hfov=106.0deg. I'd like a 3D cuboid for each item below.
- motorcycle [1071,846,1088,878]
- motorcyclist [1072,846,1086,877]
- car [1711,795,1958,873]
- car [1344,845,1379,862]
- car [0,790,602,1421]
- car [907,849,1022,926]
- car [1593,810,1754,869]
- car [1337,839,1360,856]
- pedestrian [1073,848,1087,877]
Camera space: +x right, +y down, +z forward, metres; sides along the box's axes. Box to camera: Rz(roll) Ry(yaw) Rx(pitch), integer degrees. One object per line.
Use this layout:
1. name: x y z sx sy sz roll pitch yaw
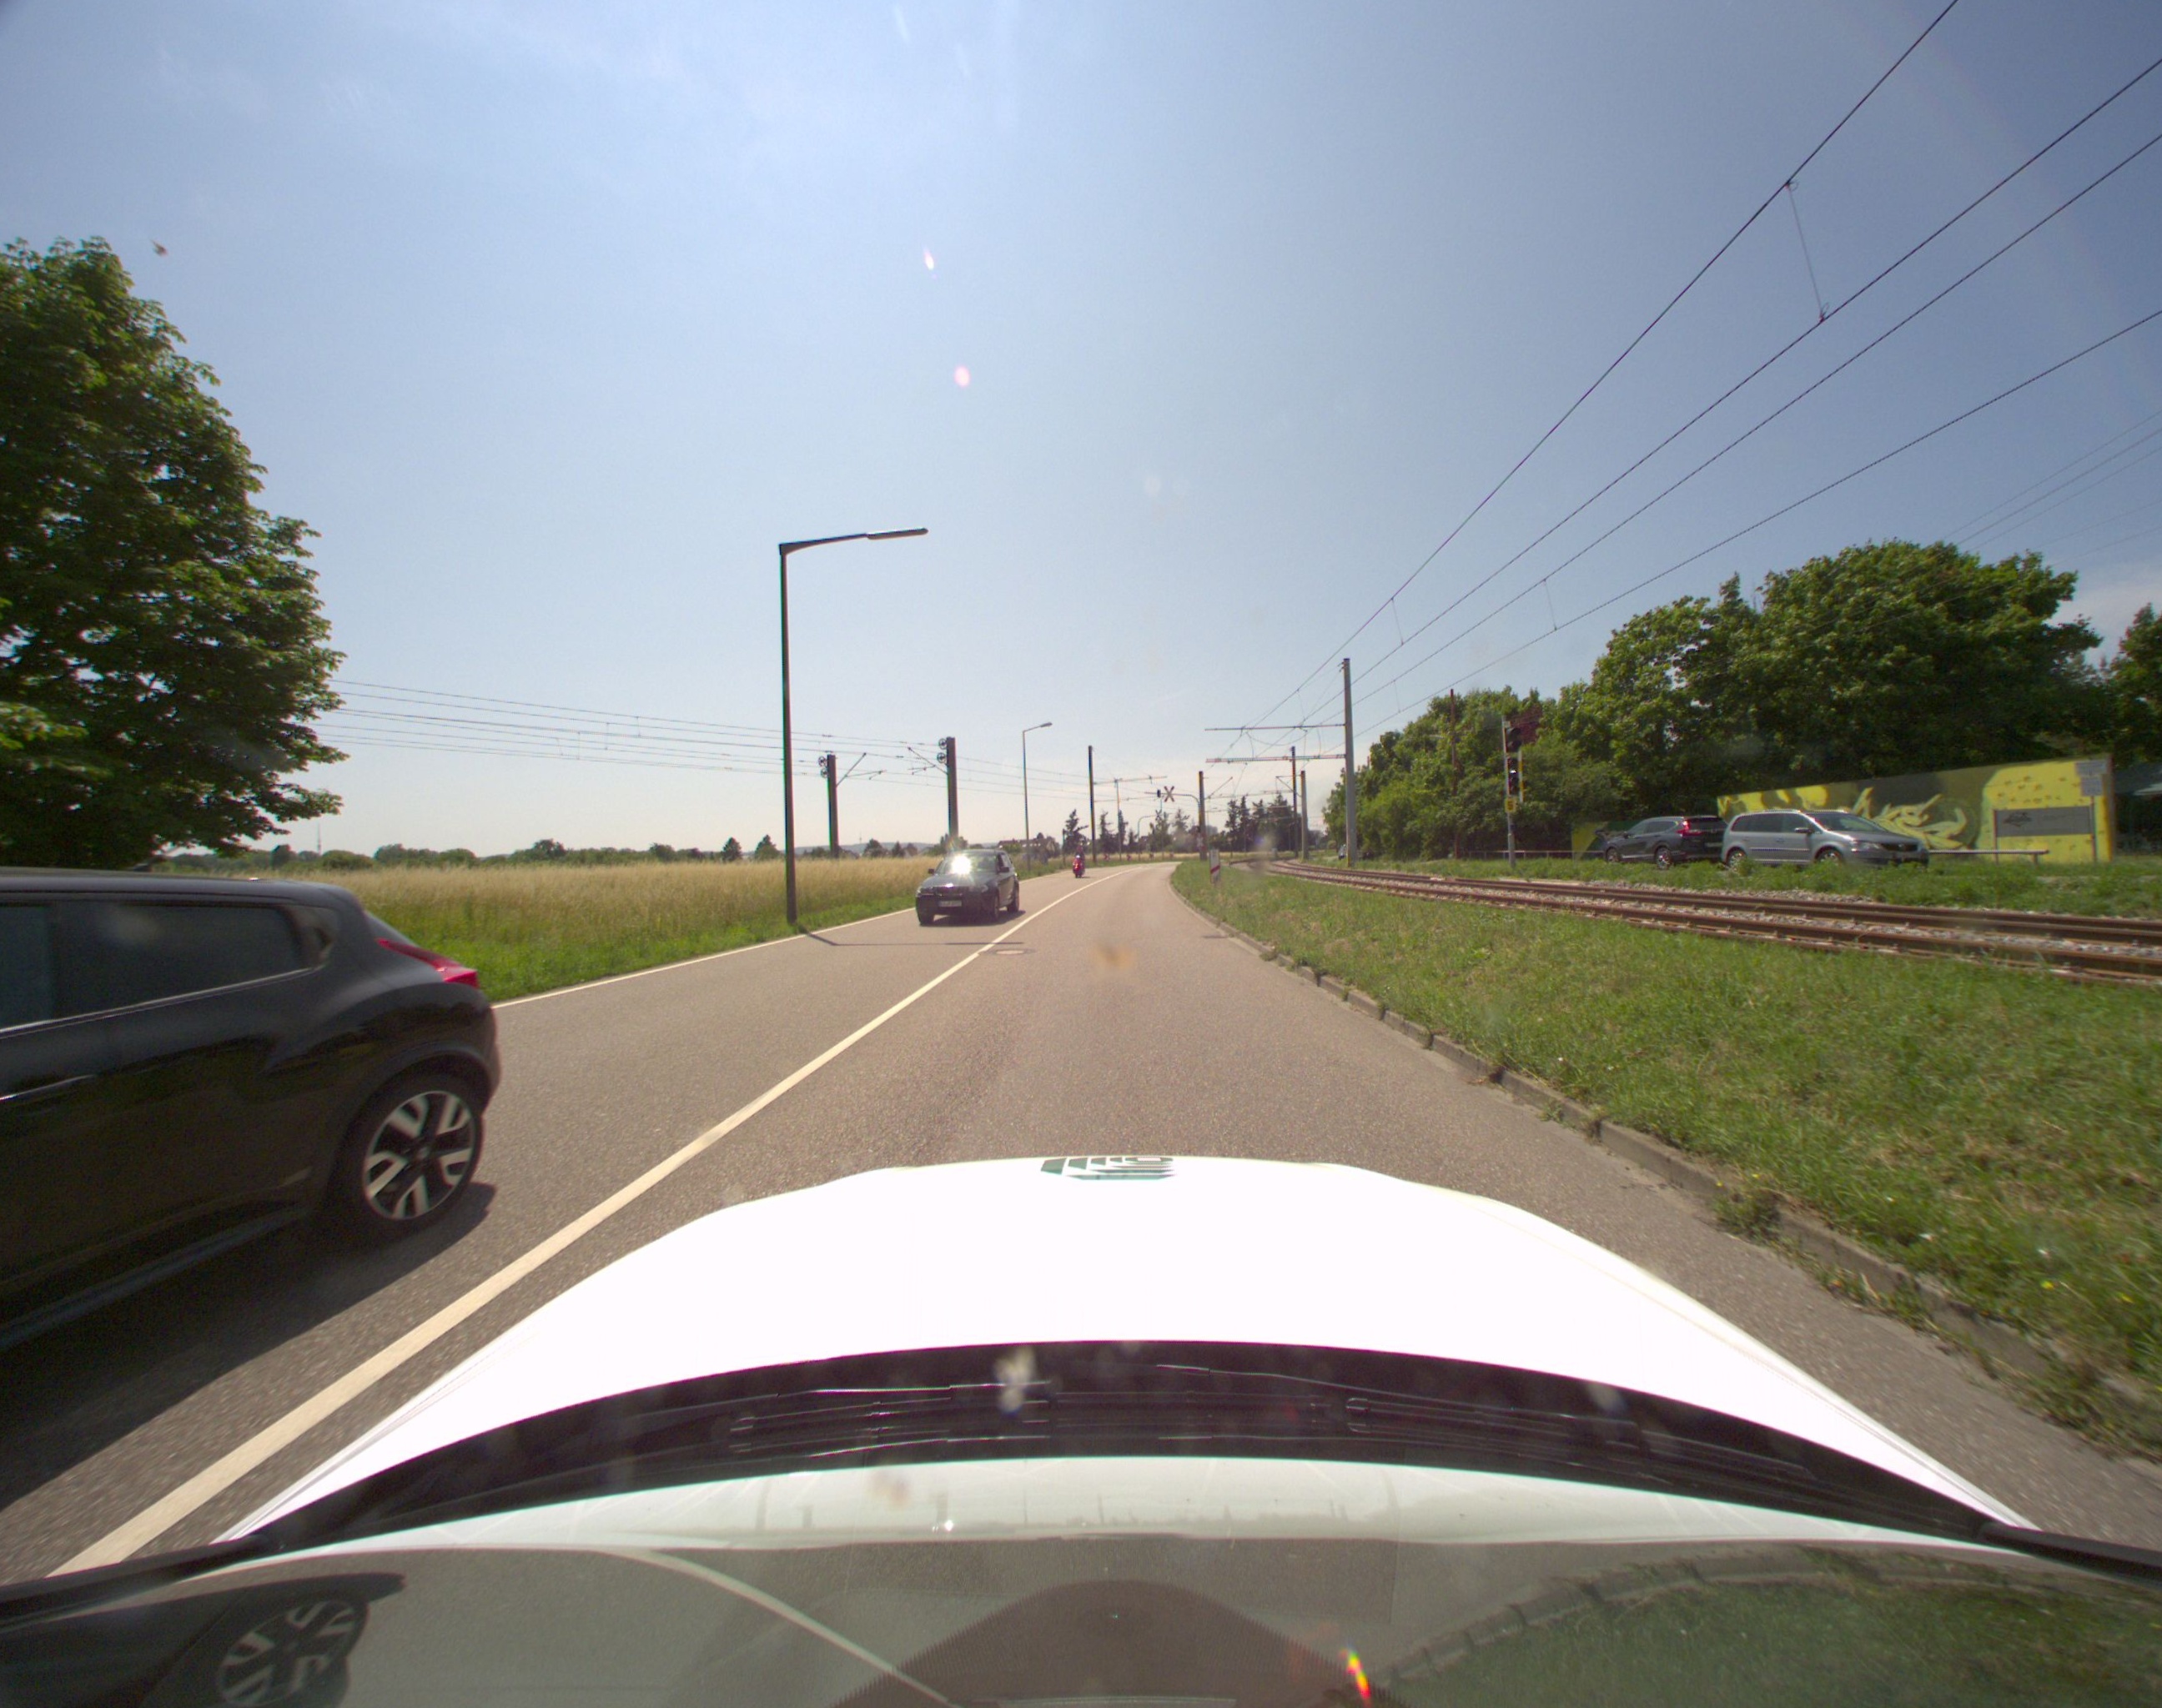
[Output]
1. motorcycle: -0.068 0.424 43.841 0.701 1.586 2.149 -2 2 3
2. motorcyclist: -0.105 0.400 43.538 0.685 1.585 0.670 -2 2 3
3. car: 18.181 -0.389 20.047 1.671 1.624 4.710 -2 -1 0
4. car: 22.918 -0.024 66.579 1.638 1.171 3.669 -2 -1 1
5. car: -3.603 0.663 2.276 1.813 1.572 4.117 -2 -1 5
6. car: -2.670 0.703 19.787 1.819 1.601 4.489 -2 0 4
7. car: 18.774 -0.378 26.142 1.820 1.657 4.819 -2 -1 3
8. car: 25.617 -0.624 78.054 1.783 1.426 4.759 -3 -1 15
9. pedestrian: -0.061 0.441 44.220 0.640 1.536 0.578 -2 1 3
